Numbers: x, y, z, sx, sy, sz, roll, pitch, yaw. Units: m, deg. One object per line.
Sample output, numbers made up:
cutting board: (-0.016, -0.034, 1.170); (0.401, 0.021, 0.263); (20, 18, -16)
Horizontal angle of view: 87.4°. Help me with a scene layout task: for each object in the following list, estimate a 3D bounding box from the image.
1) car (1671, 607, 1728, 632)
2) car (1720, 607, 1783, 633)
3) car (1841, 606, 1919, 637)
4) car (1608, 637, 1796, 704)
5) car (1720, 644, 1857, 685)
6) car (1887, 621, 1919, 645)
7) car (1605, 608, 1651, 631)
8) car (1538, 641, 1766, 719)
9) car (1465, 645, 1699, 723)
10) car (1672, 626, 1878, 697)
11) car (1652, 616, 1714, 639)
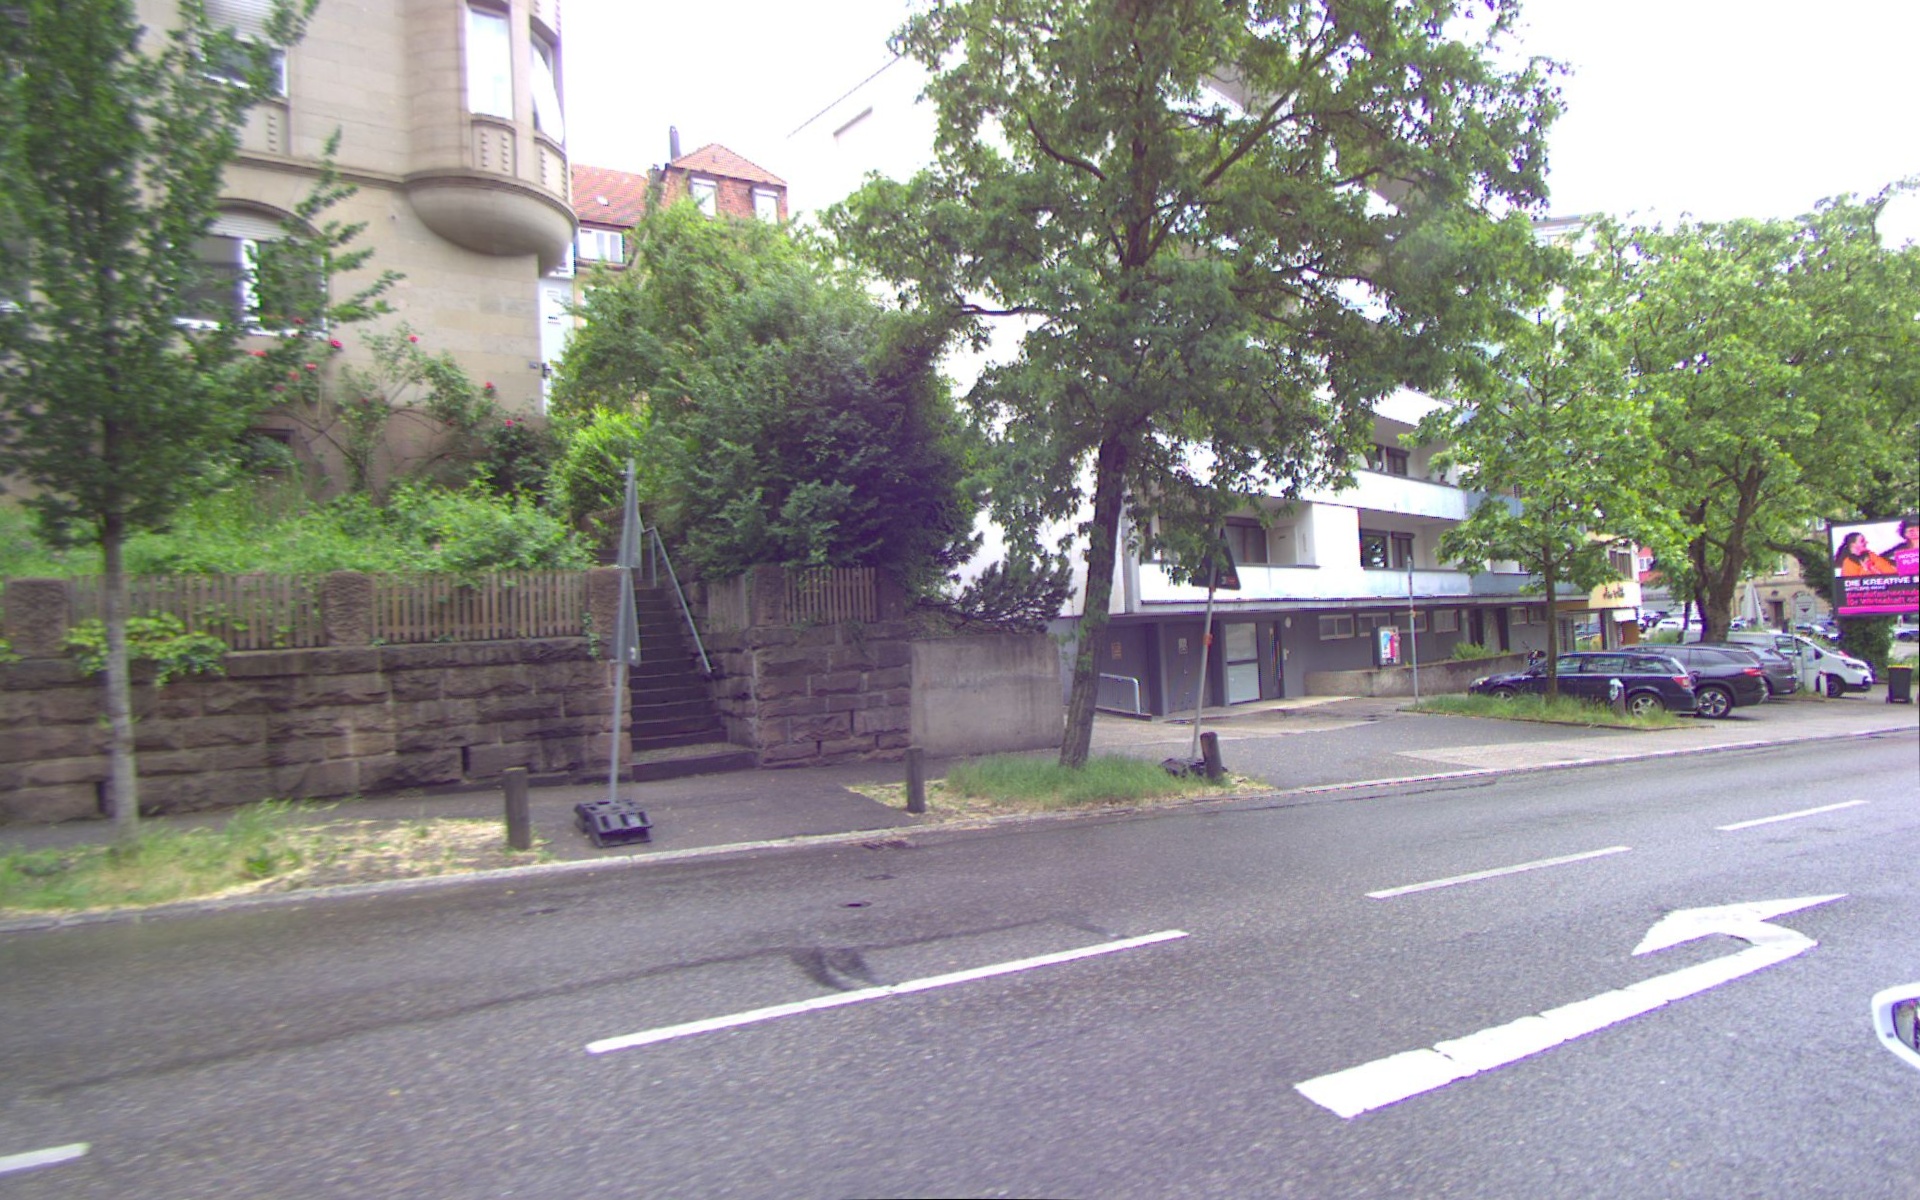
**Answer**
car: (67.013, 1.735, 91.149); (1.961, 2.130, 4.291); (-1, 0, -1)
car: (67.430, 1.691, 85.692); (1.961, 2.130, 4.291); (-1, 0, -1)
car: (67.639, 1.572, 73.834); (1.961, 2.130, 4.291); (-1, 0, -1)
car: (21.749, 2.010, 29.539); (4.304, 1.807, 1.931); (-2, -3, 40)
car: (31.447, 2.429, 38.262); (3.925, 1.469, 1.761); (-2, -3, 40)
car: (65.903, 2.268, 67.708); (1.975, 1.599, 4.622); (2, -1, -27)
car: (59.232, 1.740, 89.115); (1.545, 2.040, 4.001); (0, -2, 2)
car: (16.410, 1.885, 23.967); (4.312, 1.694, 1.848); (-3, -4, 38)
car: (14.057, 1.865, 22.817); (4.303, 1.594, 1.936); (-3, -4, 38)
car: (26.160, 1.944, 32.435); (5.000, 2.132, 1.983); (-2, -3, 40)
car: (58.743, 2.260, 81.717); (1.961, 1.749, 4.250); (-2, -1, -1)
